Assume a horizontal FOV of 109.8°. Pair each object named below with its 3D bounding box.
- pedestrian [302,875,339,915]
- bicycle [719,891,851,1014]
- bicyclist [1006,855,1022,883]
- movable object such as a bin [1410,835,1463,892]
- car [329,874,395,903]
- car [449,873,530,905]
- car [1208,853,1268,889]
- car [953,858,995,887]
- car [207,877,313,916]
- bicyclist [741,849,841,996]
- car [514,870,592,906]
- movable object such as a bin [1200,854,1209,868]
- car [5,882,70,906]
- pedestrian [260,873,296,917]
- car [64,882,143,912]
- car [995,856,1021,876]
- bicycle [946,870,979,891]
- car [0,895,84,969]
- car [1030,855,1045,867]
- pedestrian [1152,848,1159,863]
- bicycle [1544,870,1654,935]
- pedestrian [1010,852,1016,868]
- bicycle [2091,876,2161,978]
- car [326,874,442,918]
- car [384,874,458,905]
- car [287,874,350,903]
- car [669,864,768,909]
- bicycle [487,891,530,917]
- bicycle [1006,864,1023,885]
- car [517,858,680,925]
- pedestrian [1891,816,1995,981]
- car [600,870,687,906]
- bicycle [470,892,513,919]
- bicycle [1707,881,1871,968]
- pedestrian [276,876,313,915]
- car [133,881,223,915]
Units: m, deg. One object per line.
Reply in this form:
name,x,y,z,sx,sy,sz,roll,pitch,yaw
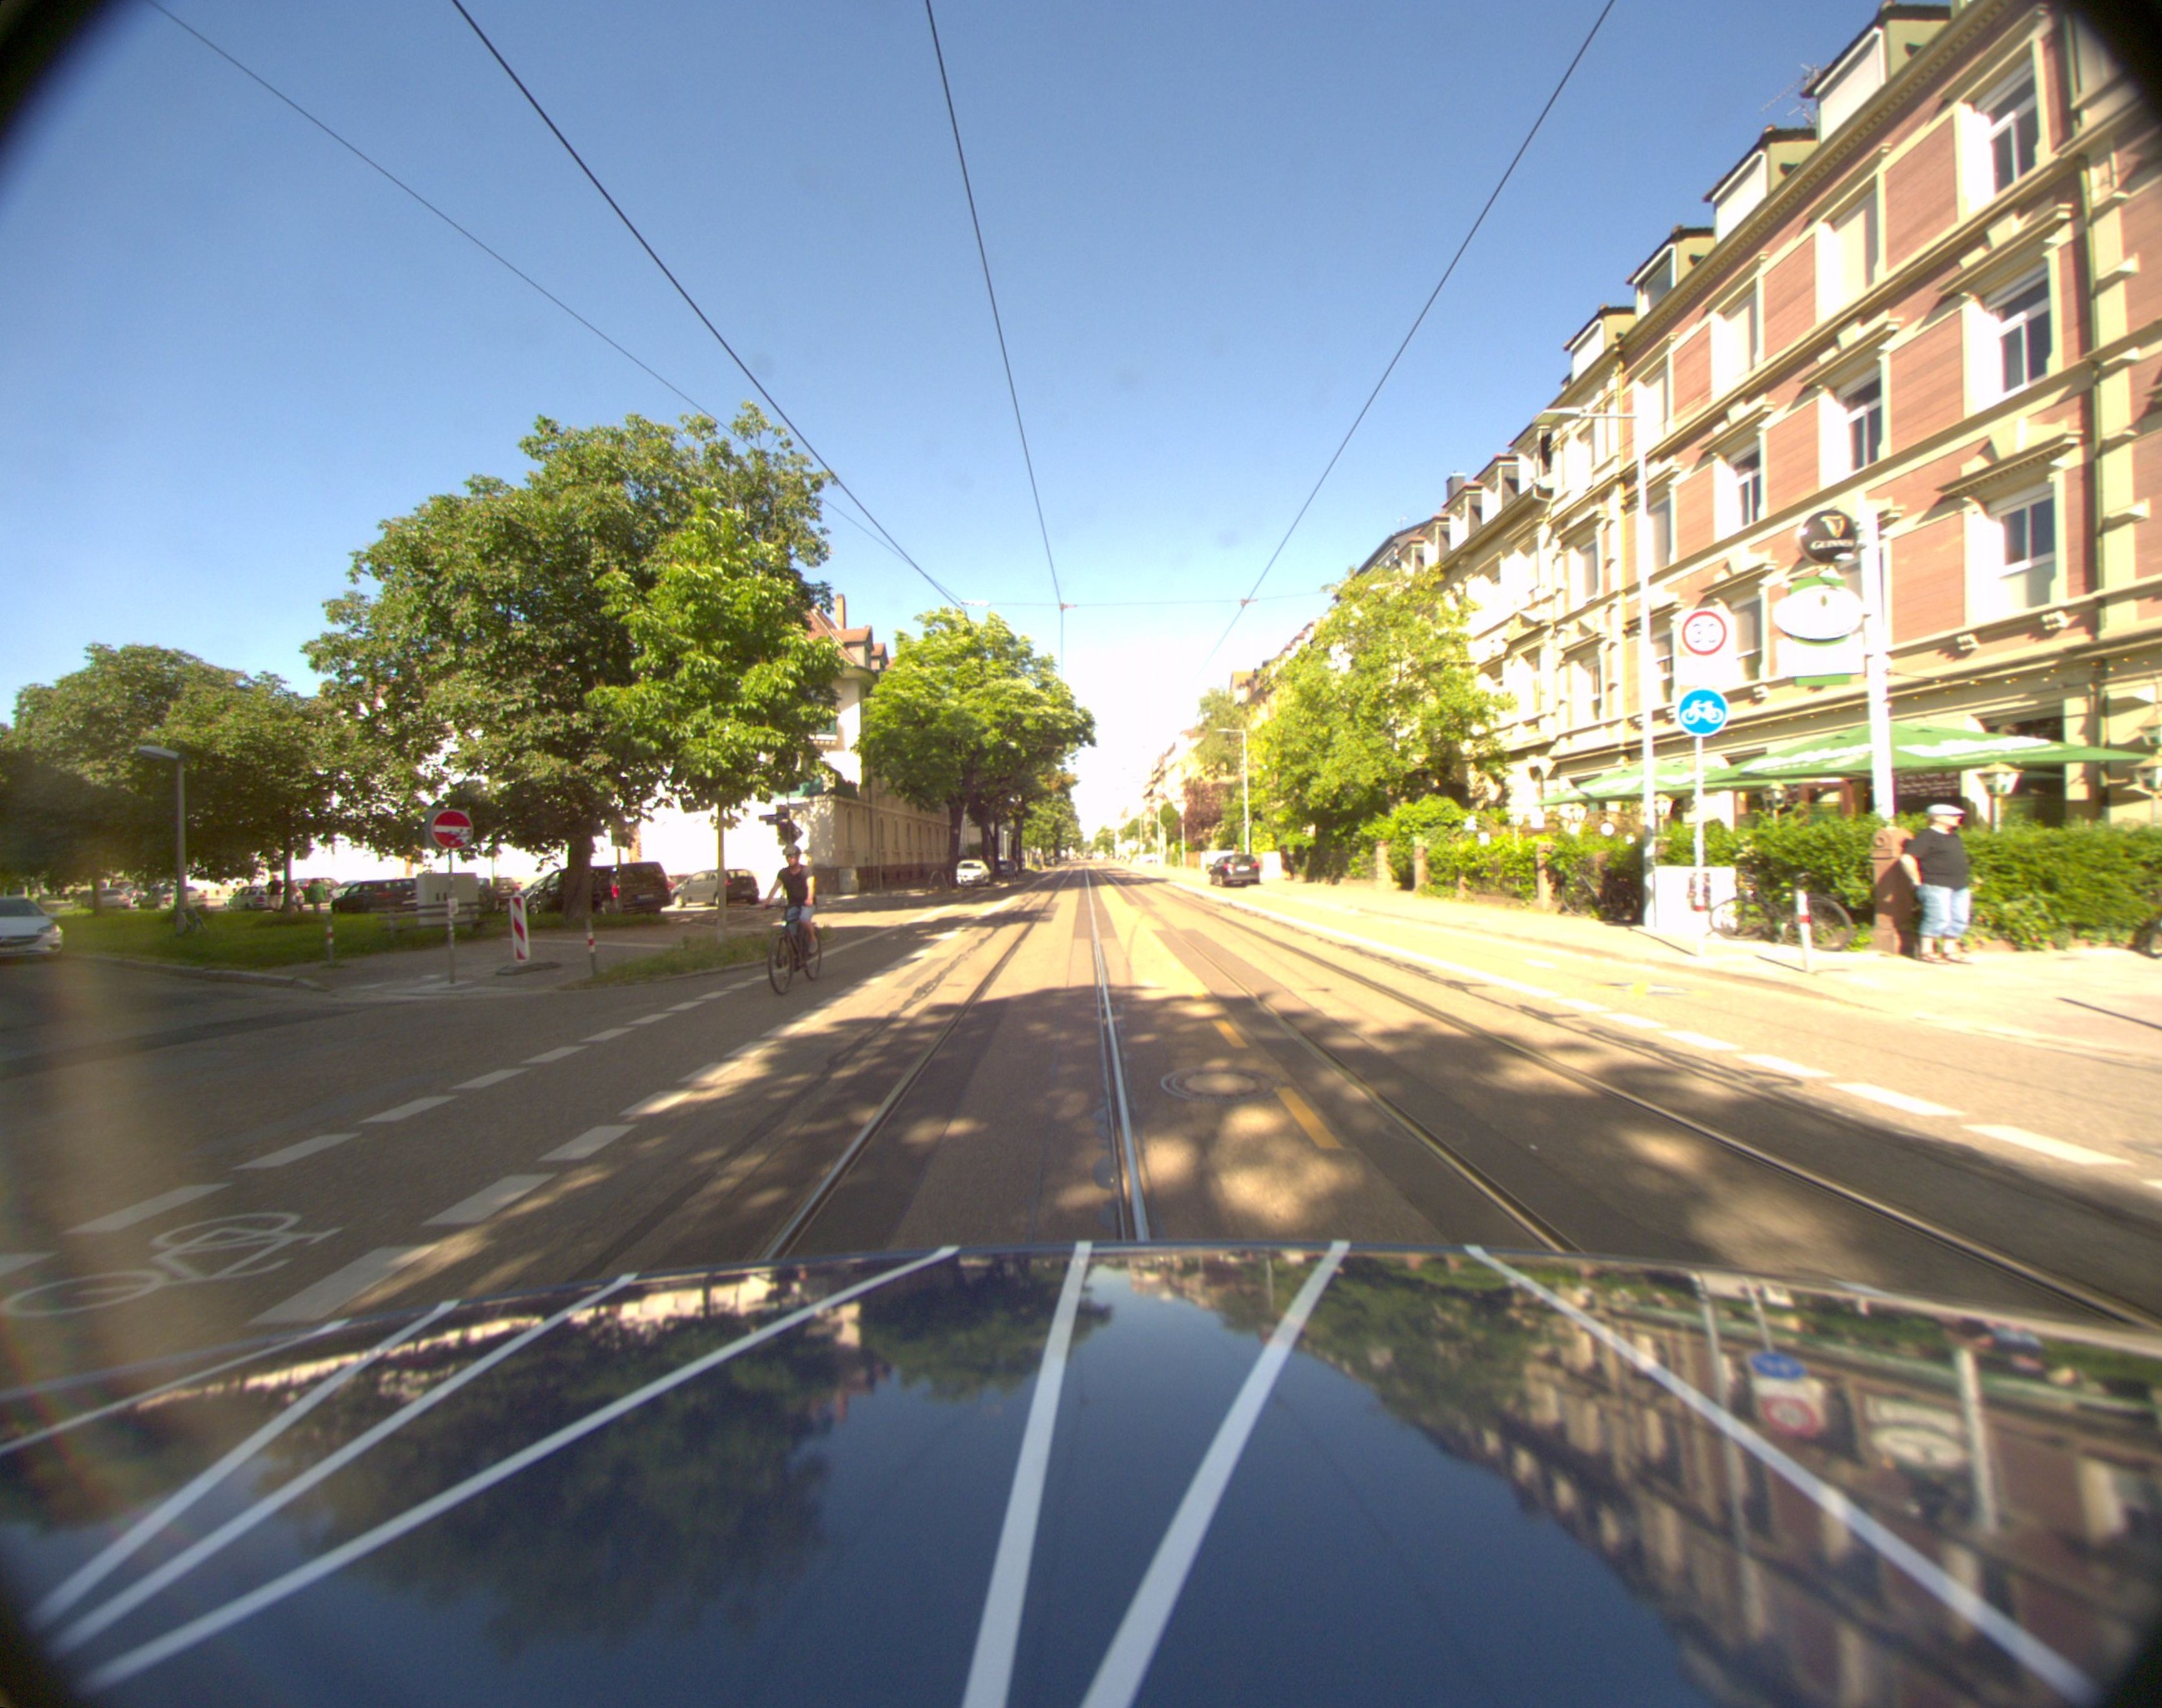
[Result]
pedestrian,-30.859,1.669,30.819,0.572,1.559,0.844,-1,1,24
bicycle,-3.621,1.157,9.538,0.763,1.235,2.096,-3,0,0
bicyclist,-3.630,0.798,41.266,0.776,1.505,1.229,-2,1,-2
movable object such as a bin,11.409,0.299,24.433,1.287,1.721,1.043,-4,0,16
car,-41.357,1.982,43.691,3.627,1.491,1.642,-1,2,28
car,-29.315,1.710,37.654,3.952,1.408,1.642,-2,2,28
car,7.237,0.731,35.473,1.869,1.567,4.588,0,0,0
car,-5.906,0.981,42.428,1.705,1.463,4.214,0,0,1
car,-39.263,2.023,36.327,5.054,1.621,2.003,-2,2,27
bicyclist,-3.637,0.815,9.624,0.763,1.728,1.046,-3,1,0
car,-24.256,1.544,34.905,3.493,1.491,1.441,-1,2,28
movable object such as a bin,10.254,0.579,63.043,0.590,1.169,0.665,-2,1,-4
car,-79.977,3.087,58.214,5.054,1.621,2.003,-2,2,27
pedestrian,-34.601,1.743,32.756,0.572,1.831,0.844,-1,2,24
car,-61.655,2.710,47.924,5.054,1.621,2.003,-2,2,27
car,-5.804,0.932,60.840,1.824,1.475,4.748,0,0,-2
bicycle,-5.781,1.283,37.172,1.570,0.974,0.640,0,0,-8
car,-23.823,1.658,16.557,3.962,1.477,1.791,-1,-2,26
car,-5.460,0.861,95.366,1.761,1.458,4.613,0,0,-2
pedestrian,9.470,0.173,96.126,0.809,1.825,0.754,-1,1,9
bicycle,9.476,0.852,14.011,0.515,1.032,2.223,-2,0,1
pedestrian,-8.802,0.756,98.192,0.743,2.002,0.687,-2,1,-8
bicycle,12.715,0.770,8.157,2.243,1.038,0.876,-1,2,10
car,-28.824,1.716,31.407,4.608,1.601,1.938,-2,2,27
car,-35.277,1.866,40.600,3.759,1.491,1.642,-1,2,28
car,-47.326,2.121,47.158,3.847,1.664,1.642,-1,2,28
car,-14.292,1.271,29.973,3.431,1.530,1.725,-1,3,28
bicycle,-17.522,1.523,23.244,1.379,0.773,0.420,-1,1,25
bicycle,-3.623,1.102,41.265,0.776,1.080,2.058,-2,0,-2
car,-15.565,1.175,24.485,5.054,1.880,2.003,-2,2,27
pedestrian,9.634,0.478,8.506,0.558,1.771,0.538,-2,1,-3
car,-18.554,1.437,32.219,3.351,1.390,1.575,-1,2,28
bicycle,-17.753,1.539,22.860,1.379,0.754,0.420,-1,1,25
bicycle,9.293,0.885,10.076,0.528,0.975,1.777,-2,0,1
pedestrian,-32.951,1.734,31.838,0.572,1.559,0.844,-1,1,24
car,-49.927,2.433,41.999,5.054,1.621,2.003,-2,2,27
